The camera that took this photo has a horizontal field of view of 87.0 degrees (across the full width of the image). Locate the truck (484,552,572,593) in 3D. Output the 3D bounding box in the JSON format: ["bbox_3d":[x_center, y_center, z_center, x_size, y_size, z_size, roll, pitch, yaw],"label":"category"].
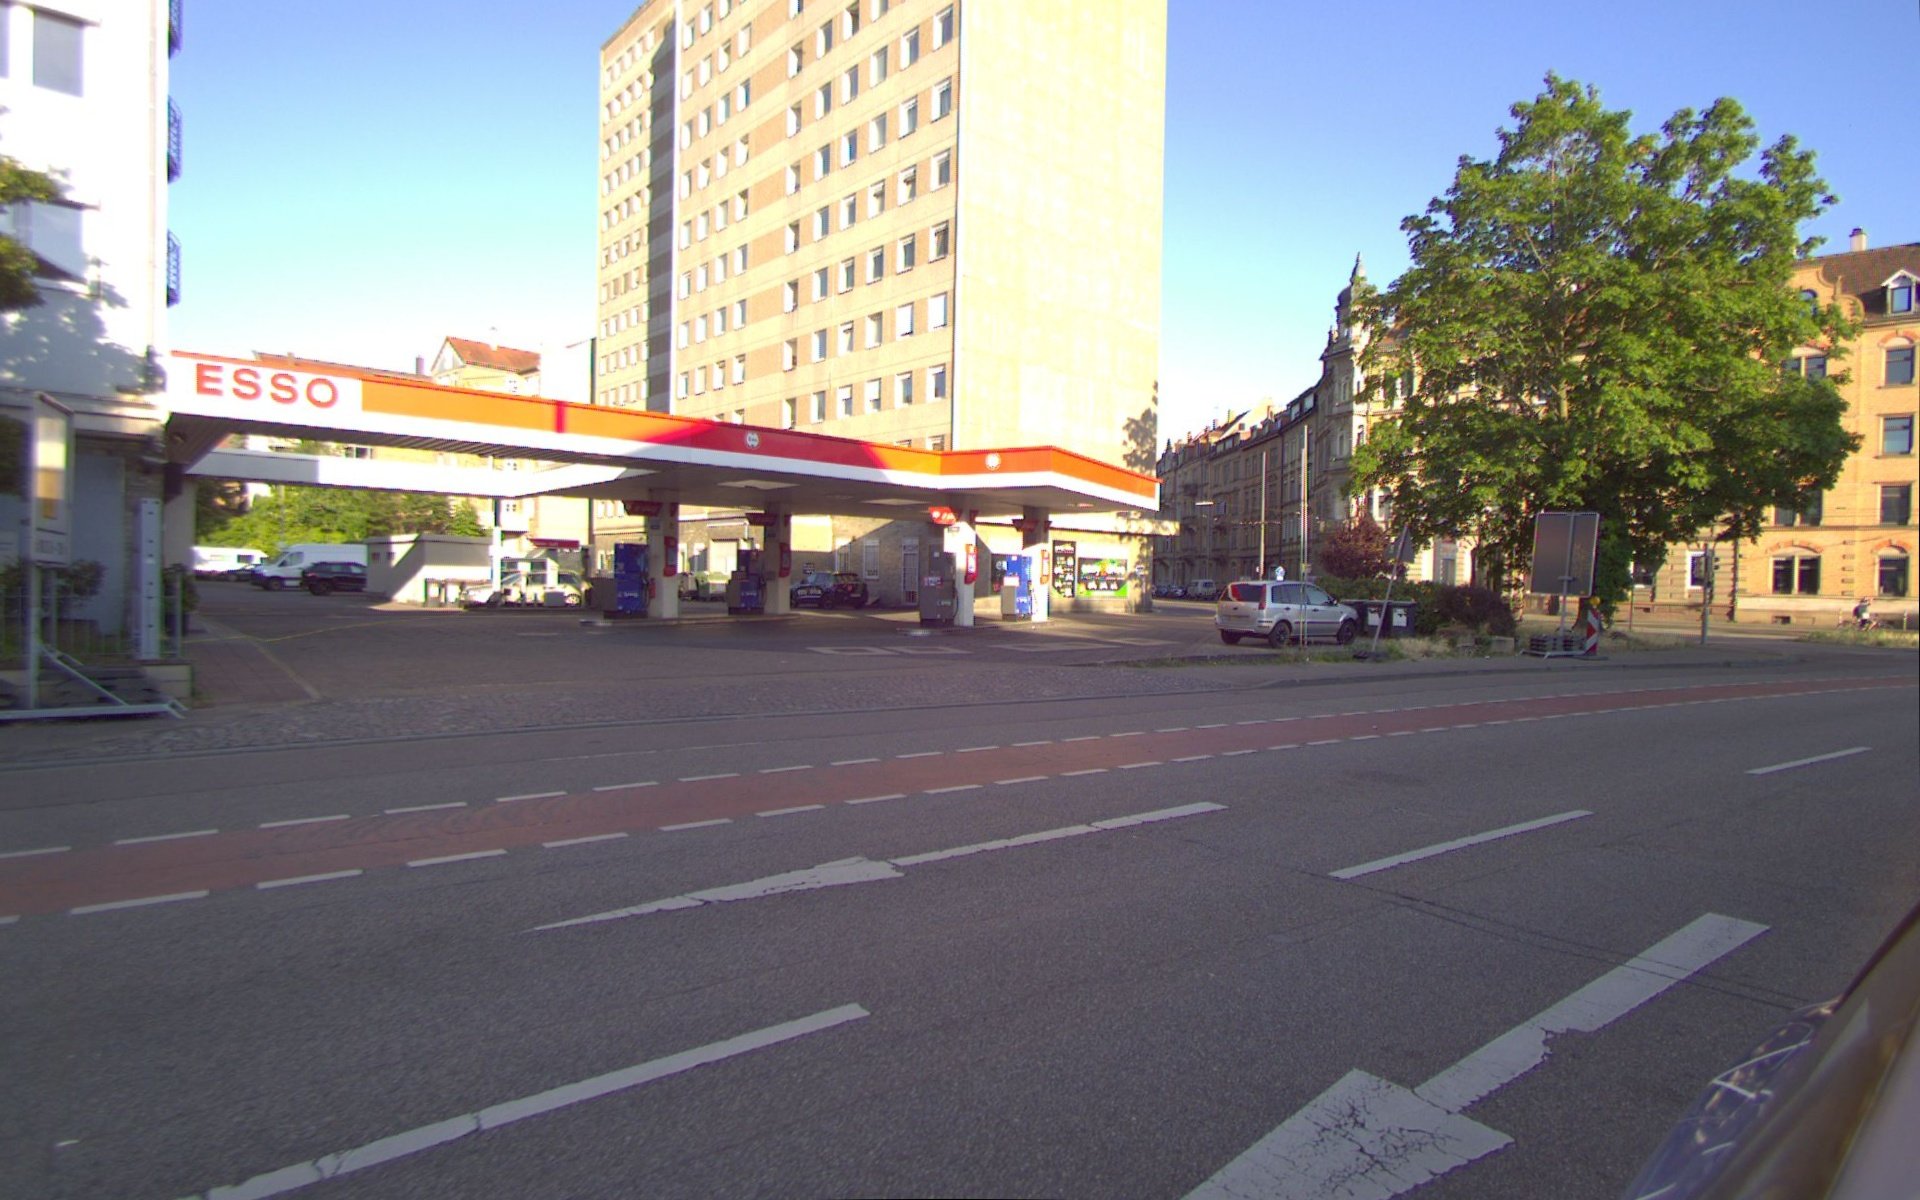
[{"bbox_3d":[-20.292,-1.273,47.597,3.430,1.852,1.780,0,2,-40],"label":"truck"}]

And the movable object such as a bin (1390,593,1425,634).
[{"bbox_3d":[11.655,0.348,26.347,0.674,1.031,0.544,0,1,-34],"label":"movable object such as a bin"}]

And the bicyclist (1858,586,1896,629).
[{"bbox_3d":[36.331,0.275,40.084,1.062,1.669,0.721,2,1,44],"label":"bicyclist"}]

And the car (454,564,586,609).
[{"bbox_3d":[-15.578,-0.489,35.872,3.928,1.482,1.999,0,2,-39],"label":"car"}]

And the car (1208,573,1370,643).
[{"bbox_3d":[7.899,0.136,24.218,3.722,1.535,1.691,-1,2,-32],"label":"car"}]

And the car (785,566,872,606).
[{"bbox_3d":[-5.443,-0.611,41.605,1.739,1.536,3.791,0,2,-40],"label":"car"}]

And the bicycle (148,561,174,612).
[{"bbox_3d":[-18.455,-0.324,23.360,0.417,1.117,1.969,0,2,-40],"label":"bicycle"}]

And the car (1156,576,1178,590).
[{"bbox_3d":[23.130,-1.915,113.157,1.647,1.565,3.119,-1,0,-1],"label":"car"}]

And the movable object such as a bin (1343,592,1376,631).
[{"bbox_3d":[10.906,0.305,27.633,0.674,1.031,0.544,0,1,-34],"label":"movable object such as a bin"}]

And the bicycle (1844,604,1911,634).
[{"bbox_3d":[36.267,0.738,40.031,1.922,1.072,0.444,2,2,44],"label":"bicycle"}]

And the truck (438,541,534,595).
[{"bbox_3d":[-23.541,-1.581,50.347,3.930,2.591,1.997,0,2,-41],"label":"truck"}]

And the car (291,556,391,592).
[{"bbox_3d":[-29.554,-1.206,48.374,3.831,1.630,1.683,0,0,-43],"label":"car"}]

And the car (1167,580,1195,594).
[{"bbox_3d":[23.620,-1.370,108.258,1.961,1.381,4.003,1,1,-2],"label":"car"}]

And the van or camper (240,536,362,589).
[{"bbox_3d":[-36.052,-2.022,55.490,2.201,2.722,5.260,2,1,43],"label":"van or camper"}]

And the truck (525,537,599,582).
[{"bbox_3d":[-29.130,-2.941,74.088,4.657,3.106,1.999,0,1,-39],"label":"truck"}]

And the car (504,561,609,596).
[{"bbox_3d":[-17.886,-0.943,44.960,3.928,1.482,1.999,0,2,-39],"label":"car"}]

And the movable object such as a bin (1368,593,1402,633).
[{"bbox_3d":[11.358,0.331,27.040,0.674,1.031,0.544,0,1,-34],"label":"movable object such as a bin"}]

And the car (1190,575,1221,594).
[{"bbox_3d":[24.003,-1.547,99.100,1.962,1.707,4.001,1,1,0],"label":"car"}]
